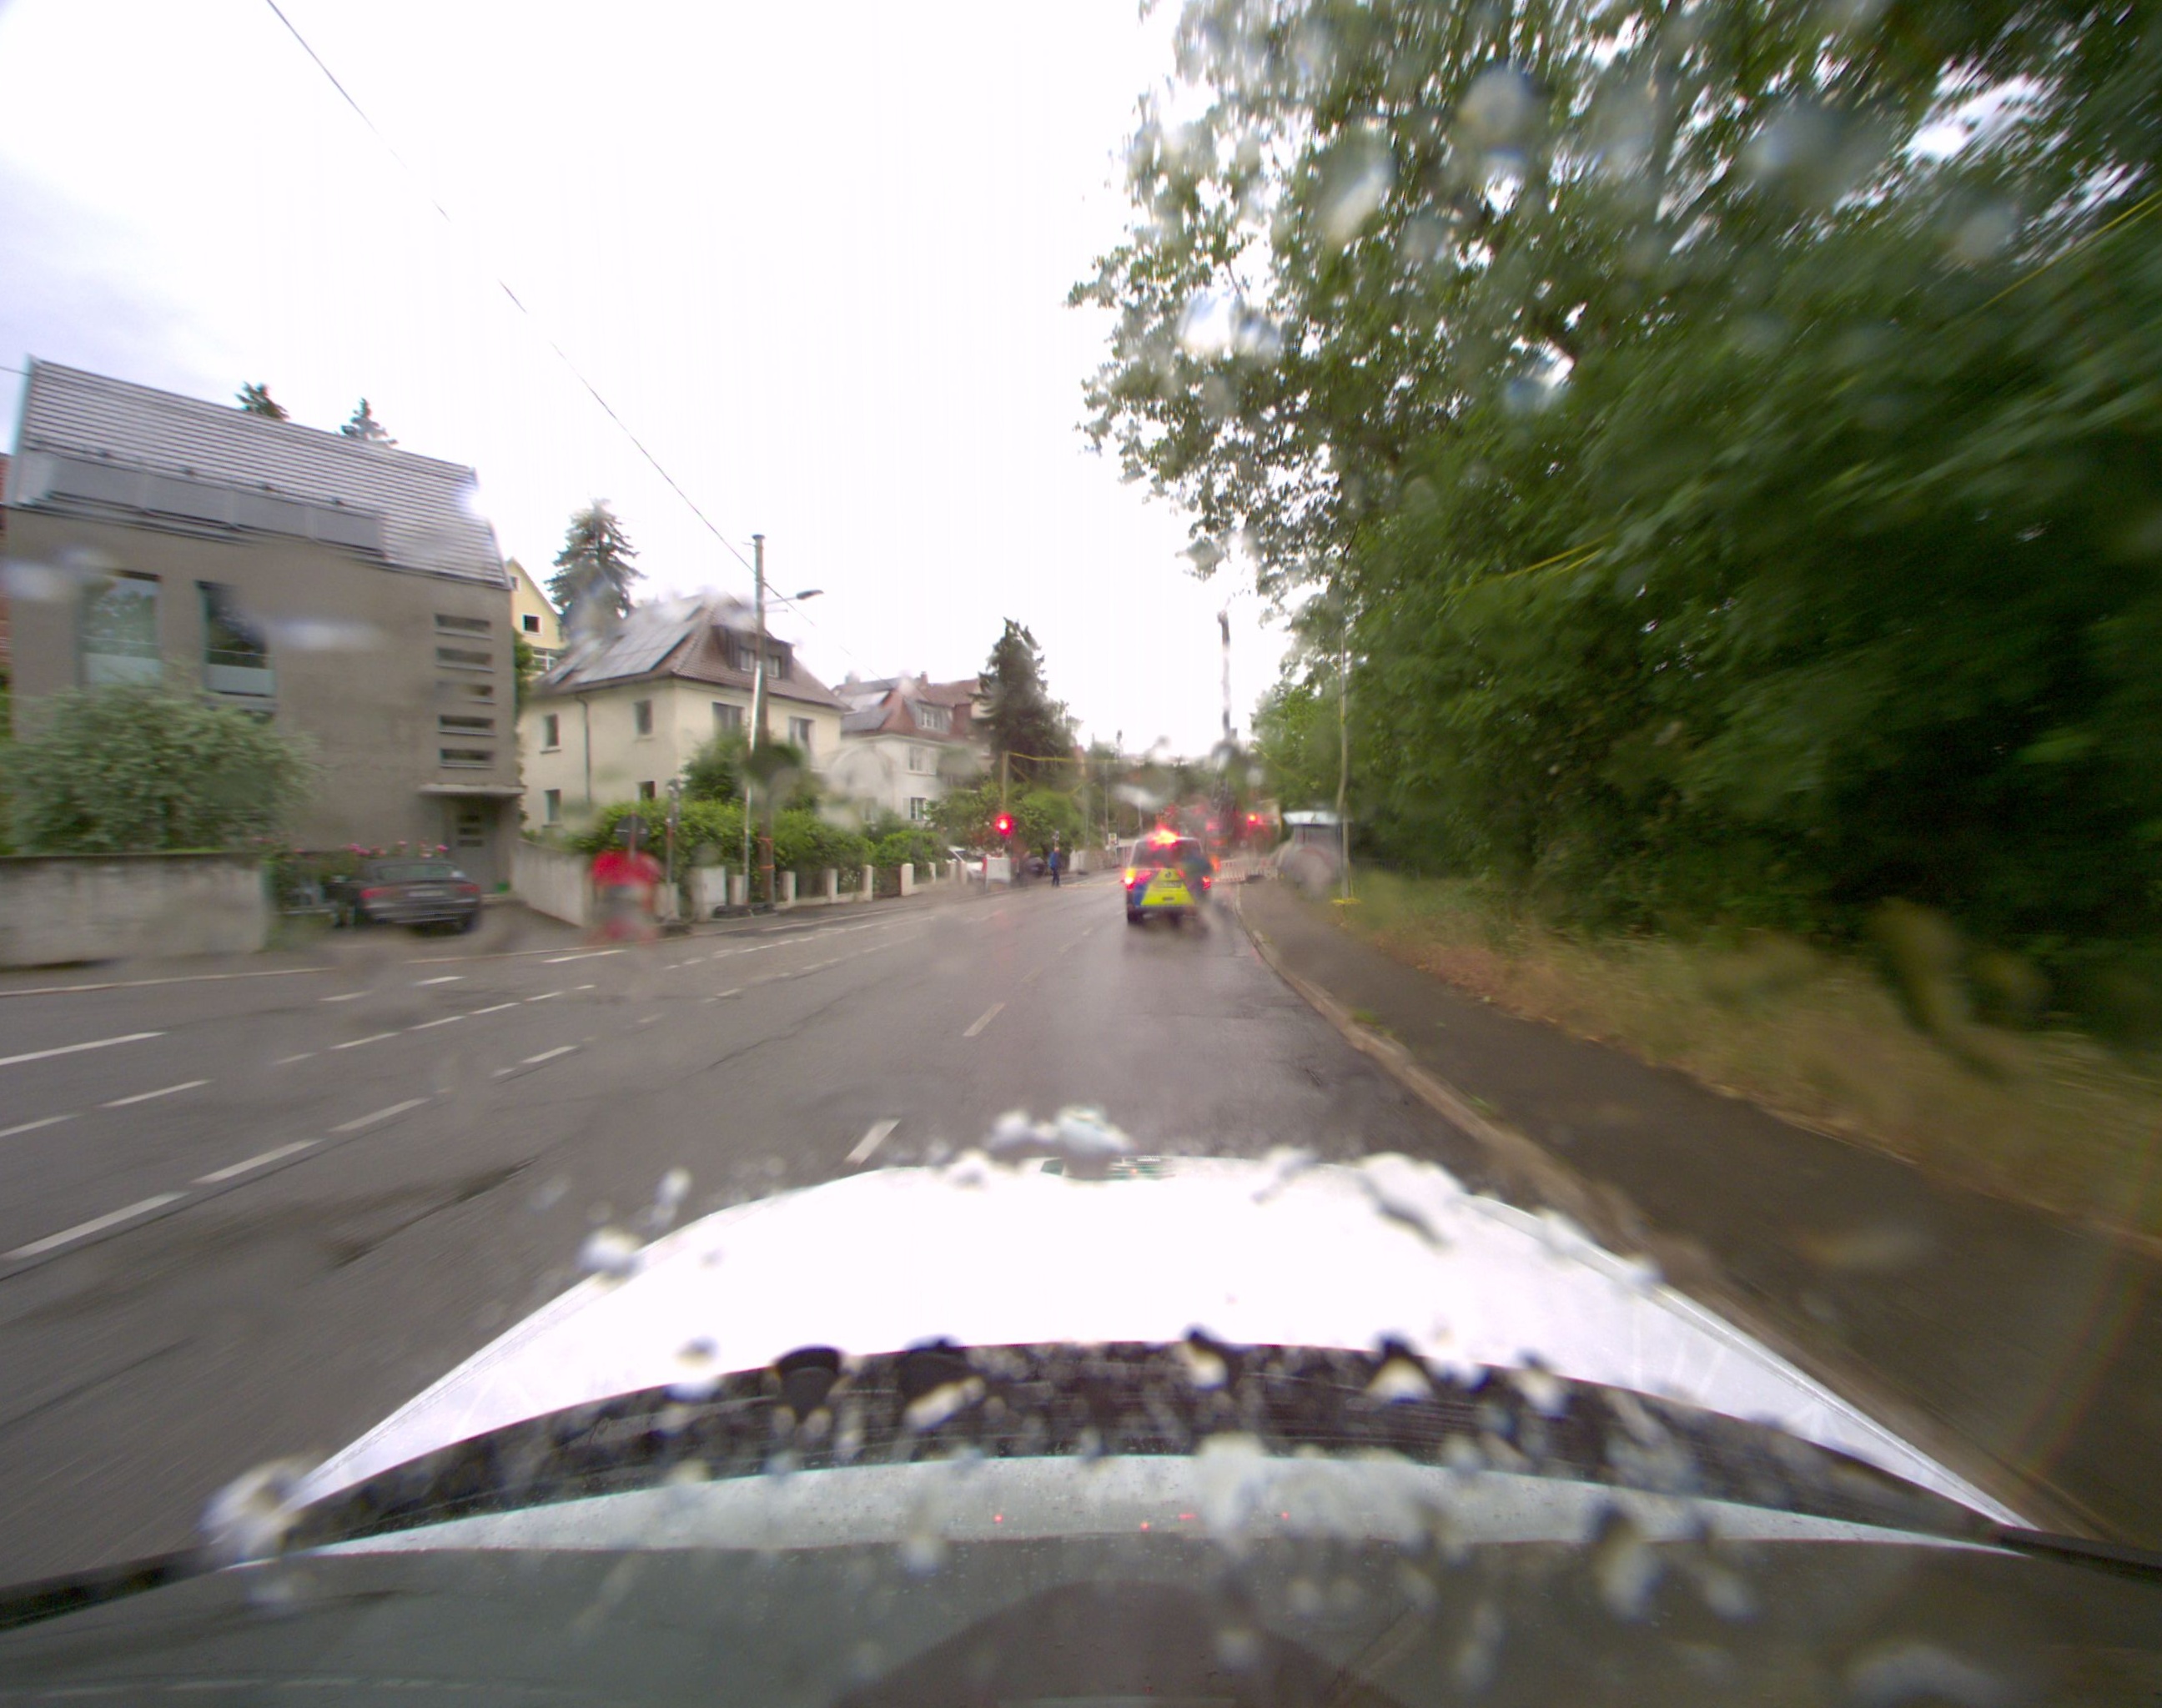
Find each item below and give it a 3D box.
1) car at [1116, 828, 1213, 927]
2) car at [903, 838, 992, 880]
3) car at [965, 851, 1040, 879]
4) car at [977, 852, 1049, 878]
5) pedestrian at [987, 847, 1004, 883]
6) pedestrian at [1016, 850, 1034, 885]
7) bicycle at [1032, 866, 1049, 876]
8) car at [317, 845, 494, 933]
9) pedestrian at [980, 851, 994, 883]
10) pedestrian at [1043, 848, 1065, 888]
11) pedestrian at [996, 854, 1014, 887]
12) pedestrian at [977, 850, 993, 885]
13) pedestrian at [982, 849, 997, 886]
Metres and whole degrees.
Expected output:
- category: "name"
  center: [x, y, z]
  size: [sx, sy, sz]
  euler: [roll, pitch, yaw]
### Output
- category: "car"
  center: [2.086, 0.486, 19.169]
  size: [1.982, 2.013, 4.413]
  euler: [-1, 0, 9]
- category: "car"
  center: [-6.638, 0.257, 40.502]
  size: [3.955, 2.014, 1.838]
  euler: [0, -1, 18]
- category: "car"
  center: [-4.596, 0.653, 47.783]
  size: [3.956, 1.486, 1.767]
  euler: [1, -2, 17]
- category: "car"
  center: [-4.169, 0.696, 49.902]
  size: [3.956, 1.486, 1.767]
  euler: [1, -2, 17]
- category: "pedestrian"
  center: [-4.093, 0.532, 38.918]
  size: [0.622, 1.715, 0.594]
  euler: [1, -3, 8]
- category: "pedestrian"
  center: [-2.539, 0.618, 37.113]
  size: [0.682, 1.604, 0.606]
  euler: [1, -2, 5]
- category: "bicycle"
  center: [-2.632, 1.093, 52.687]
  size: [1.045, 0.662, 0.321]
  euler: [1, -3, 16]
- category: "car"
  center: [-12.825, 0.568, 15.394]
  size: [3.949, 1.443, 1.851]
  euler: [0, 0, 39]
- category: "pedestrian"
  center: [-4.431, 0.630, 38.376]
  size: [0.522, 1.507, 0.430]
  euler: [1, -3, 8]
- category: "pedestrian"
  center: [-1.222, 0.649, 37.149]
  size: [0.885, 1.787, 0.829]
  euler: [1, -2, 5]
- category: "pedestrian"
  center: [-3.486, 0.769, 37.426]
  size: [0.622, 1.522, 0.594]
  euler: [1, -2, 8]
- category: "pedestrian"
  center: [-4.351, 0.608, 36.901]
  size: [0.559, 1.583, 0.469]
  euler: [1, -3, 8]
- category: "pedestrian"
  center: [-4.221, 0.632, 37.679]
  size: [0.546, 1.668, 0.415]
  euler: [1, -3, 8]
